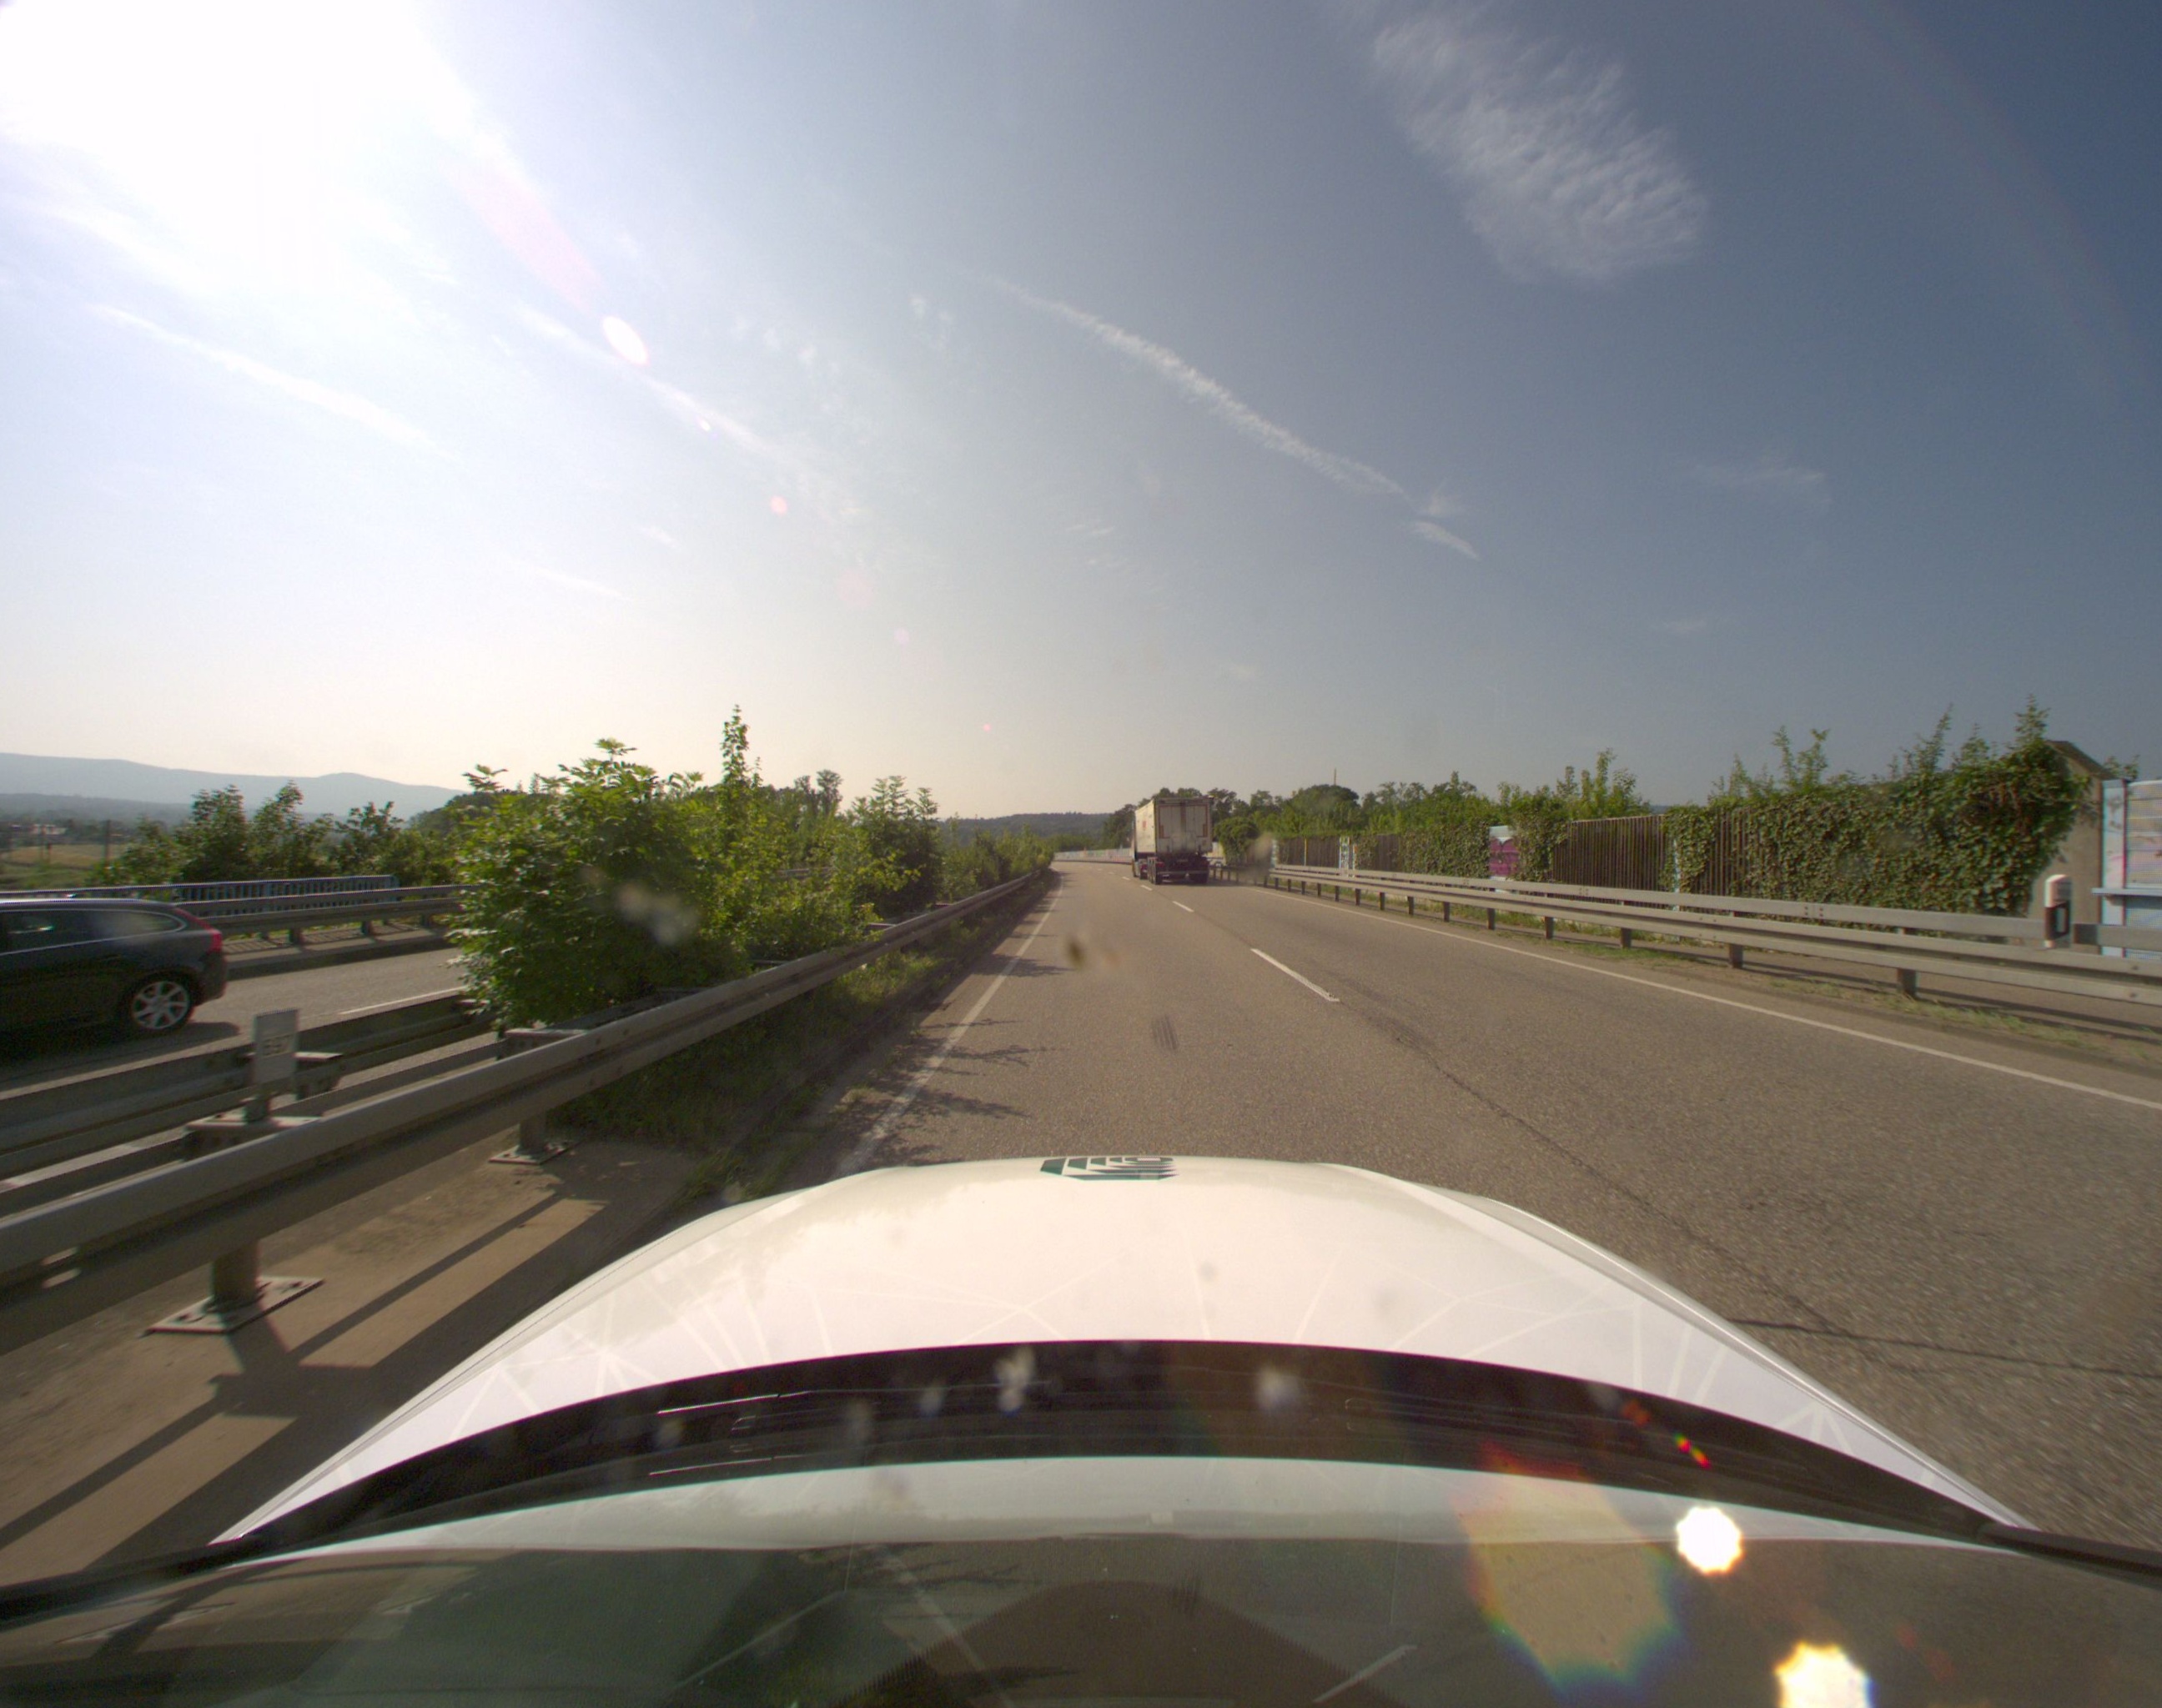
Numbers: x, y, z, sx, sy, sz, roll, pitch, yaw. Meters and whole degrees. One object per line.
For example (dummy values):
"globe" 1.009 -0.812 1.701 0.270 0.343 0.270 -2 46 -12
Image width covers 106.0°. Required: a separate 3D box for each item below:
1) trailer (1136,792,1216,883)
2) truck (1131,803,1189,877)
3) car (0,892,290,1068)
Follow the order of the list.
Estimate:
"trailer" 4.437 -0.741 40.166 2.671 3.907 9.669 -1 0 0
"truck" 4.369 -0.776 46.090 2.650 3.896 5.646 -1 0 0
"car" -10.094 1.151 7.045 1.701 1.369 4.837 0 0 1
